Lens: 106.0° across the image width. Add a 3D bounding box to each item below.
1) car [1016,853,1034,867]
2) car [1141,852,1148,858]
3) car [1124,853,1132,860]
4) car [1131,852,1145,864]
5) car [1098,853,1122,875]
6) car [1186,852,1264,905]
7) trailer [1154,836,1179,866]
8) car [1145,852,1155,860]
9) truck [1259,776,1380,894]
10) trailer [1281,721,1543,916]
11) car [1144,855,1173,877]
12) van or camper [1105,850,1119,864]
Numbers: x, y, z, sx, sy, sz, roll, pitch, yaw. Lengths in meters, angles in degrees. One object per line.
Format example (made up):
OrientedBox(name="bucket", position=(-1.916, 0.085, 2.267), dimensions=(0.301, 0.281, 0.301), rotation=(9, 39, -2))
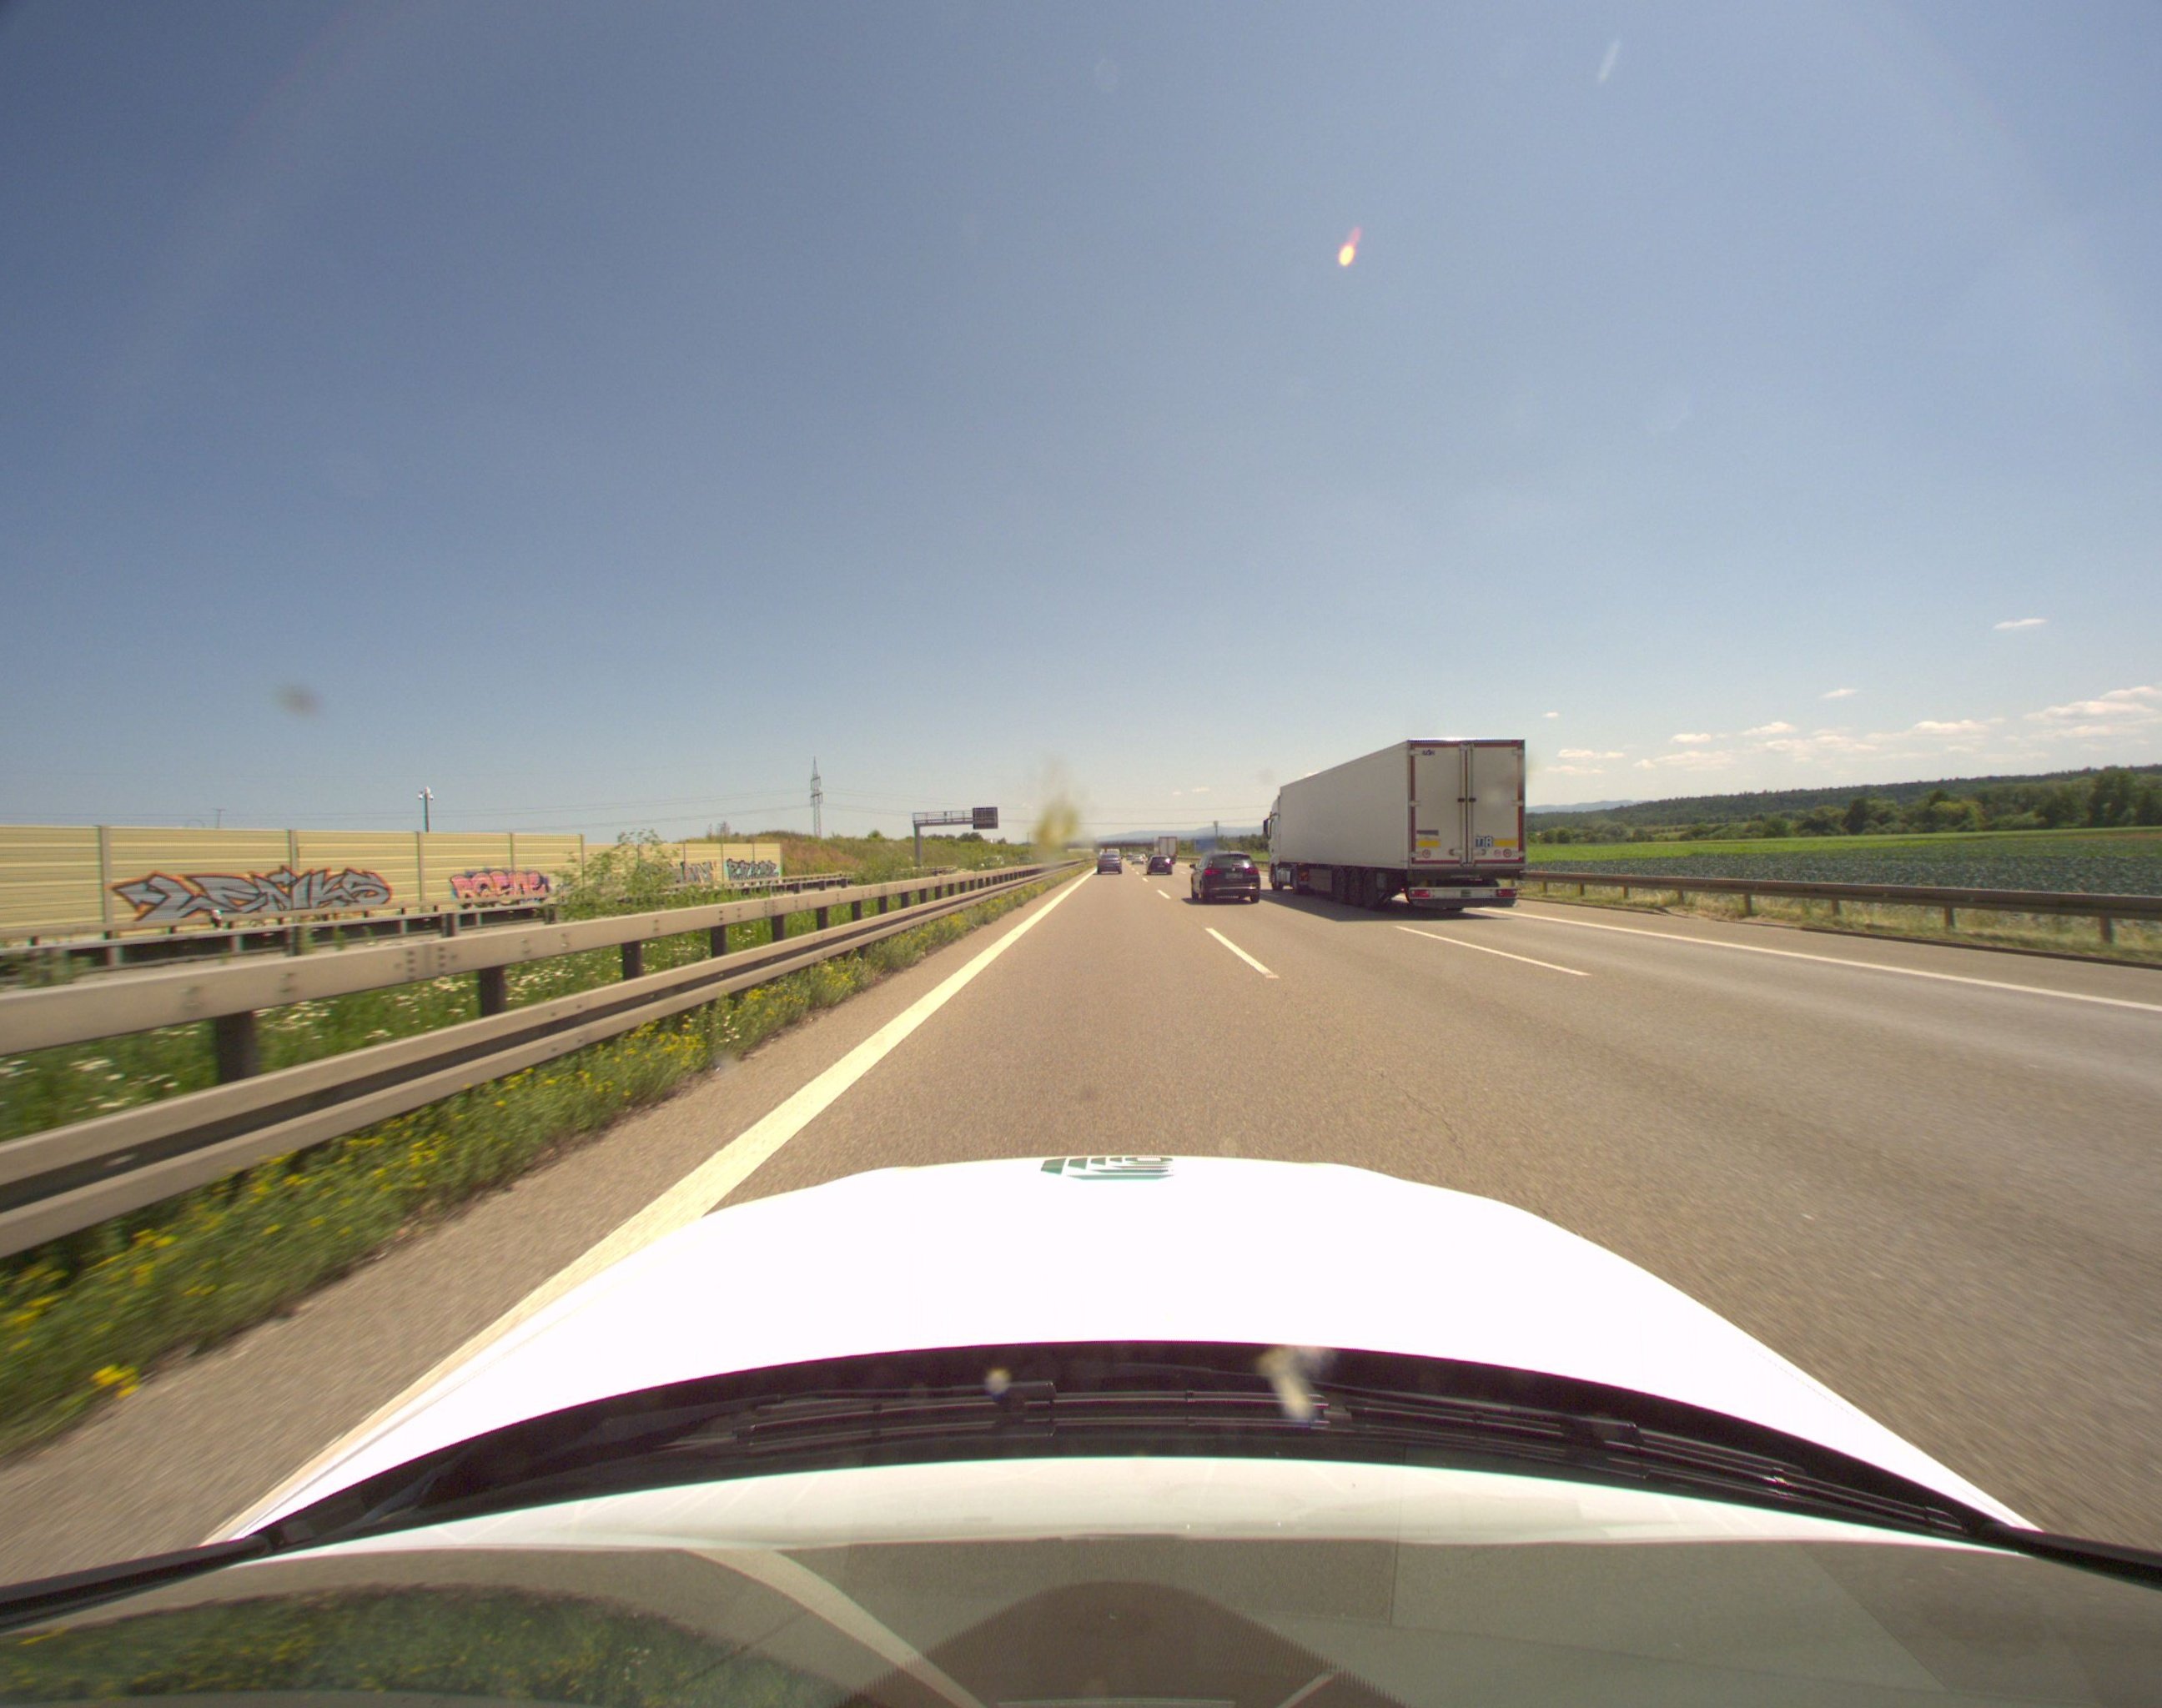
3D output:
OrientedBox(name="car", position=(-8.156, 0.858, 119.073), dimensions=(1.986, 1.940, 5.858), rotation=(-4, -1, 2))
OrientedBox(name="car", position=(18.739, 0.360, 241.946), dimensions=(1.985, 1.683, 4.003), rotation=(0, 0, 3))
OrientedBox(name="car", position=(12.060, 0.709, 210.302), dimensions=(1.985, 1.683, 4.003), rotation=(0, 0, 3))
OrientedBox(name="car", position=(8.633, 0.625, 124.219), dimensions=(1.985, 1.683, 4.003), rotation=(0, 0, 3))
OrientedBox(name="car", position=(2.295, 0.773, 65.327), dimensions=(1.845, 1.664, 3.734), rotation=(0, 0, 0))
OrientedBox(name="car", position=(4.492, 0.731, 25.921), dimensions=(1.791, 1.562, 3.822), rotation=(0, 0, 0))
OrientedBox(name="trailer", position=(12.642, -0.387, 121.501), dimensions=(2.931, 4.198, 13.606), rotation=(0, 0, 3))
OrientedBox(name="car", position=(14.920, 0.478, 175.702), dimensions=(1.985, 1.683, 4.003), rotation=(0, 0, 3))
OrientedBox(name="truck", position=(9.054, -0.646, 31.789), dimensions=(2.852, 4.091, 6.881), rotation=(0, 0, 2))
OrientedBox(name="trailer", position=(8.784, -0.723, 24.285), dimensions=(2.857, 4.220, 13.301), rotation=(0, 0, 2))
OrientedBox(name="car", position=(5.817, 0.881, 61.740), dimensions=(1.925, 1.574, 4.937), rotation=(0, 0, 2))
OrientedBox(name="van or camper", position=(4.925, 0.459, 127.580), dimensions=(2.102, 2.211, 5.269), rotation=(0, 0, 3))
